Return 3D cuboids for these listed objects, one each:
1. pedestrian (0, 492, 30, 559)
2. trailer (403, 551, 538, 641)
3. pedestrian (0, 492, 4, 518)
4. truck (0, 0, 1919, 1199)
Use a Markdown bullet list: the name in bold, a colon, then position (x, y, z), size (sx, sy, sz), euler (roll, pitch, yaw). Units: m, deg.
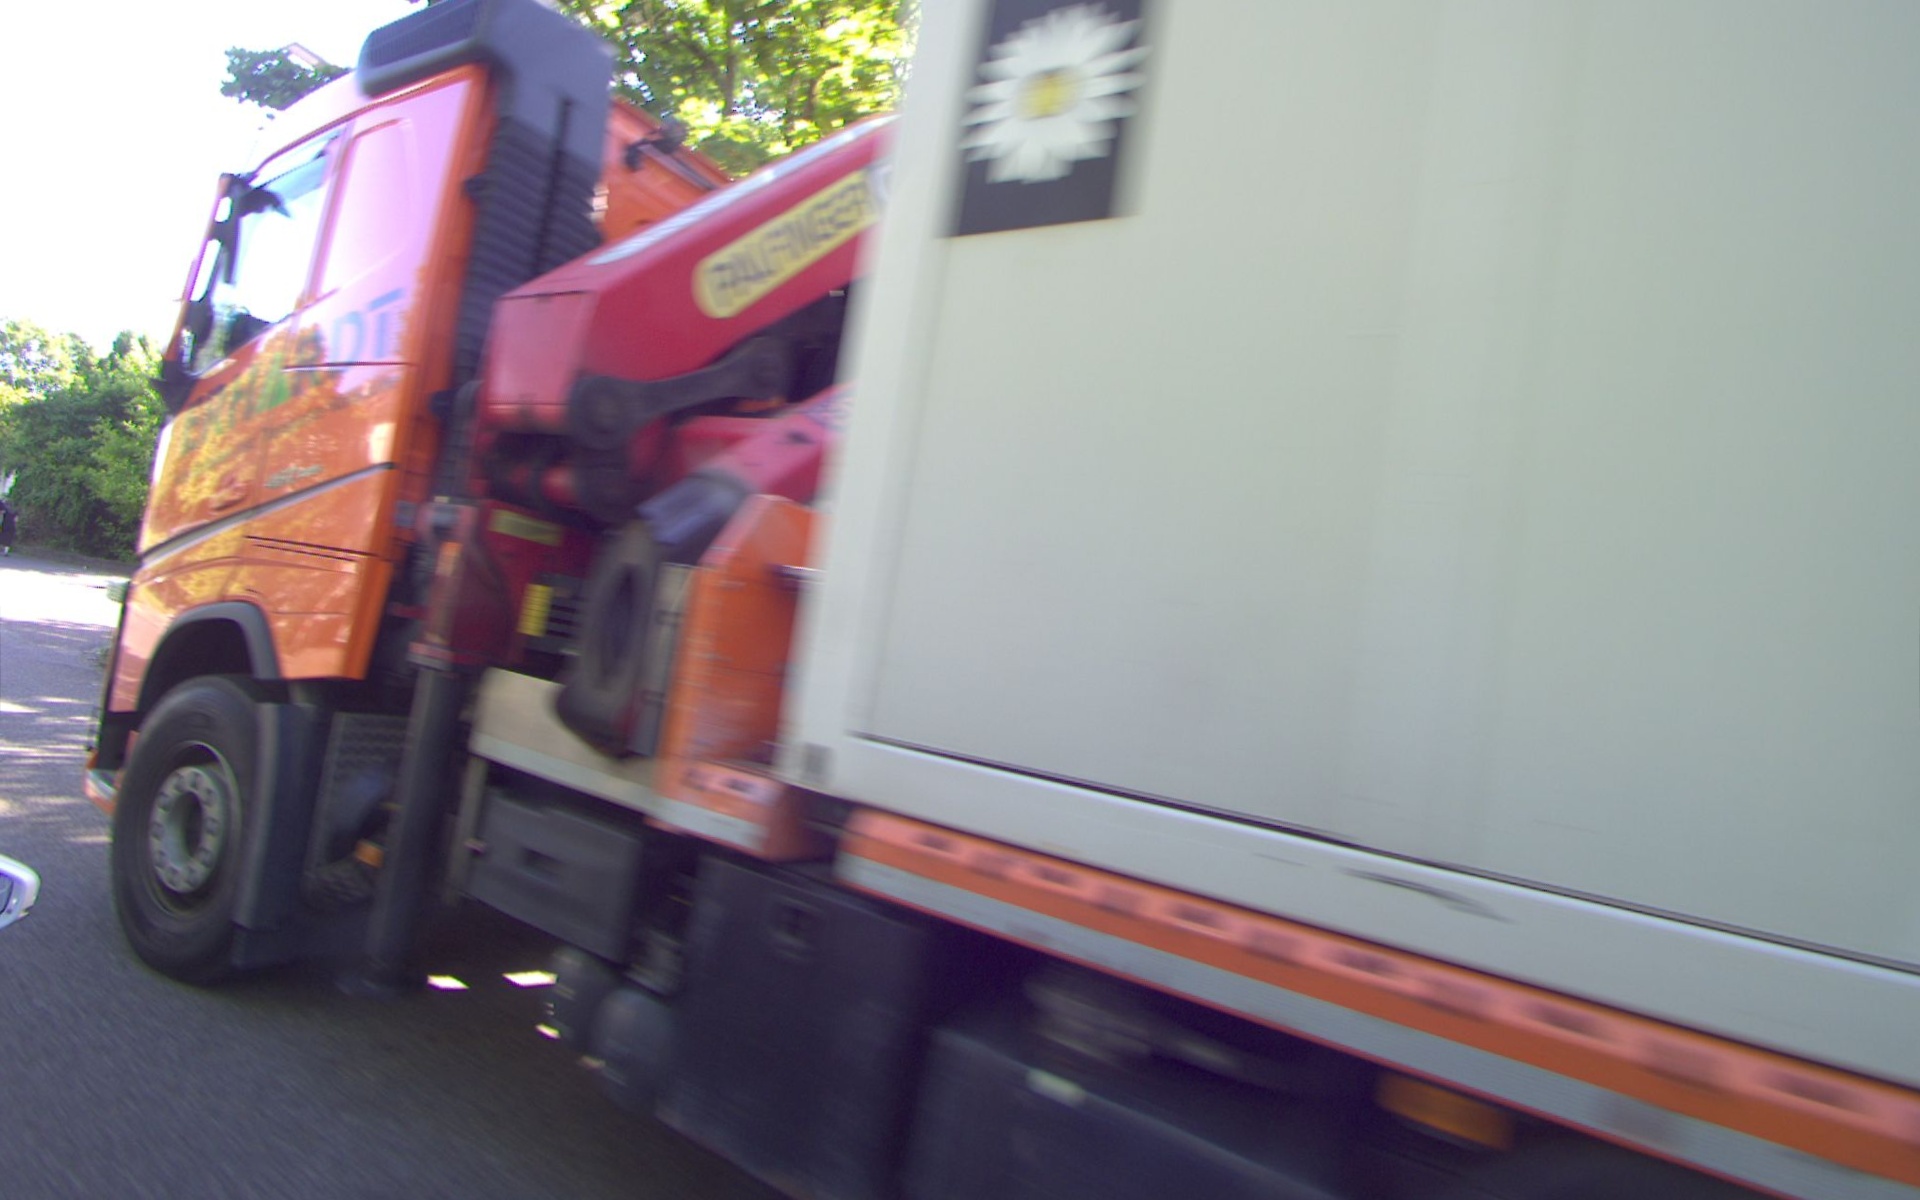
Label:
- **pedestrian**: position (-25.663, -2.017, 27.074), size (0.504, 1.701, 0.572), euler (8, -2, 23)
- **trailer**: position (-14.380, -0.069, 29.681), size (1.584, 2.139, 2.951), euler (7, -3, 31)
- **pedestrian**: position (-25.689, -2.043, 26.390), size (0.505, 1.701, 0.571), euler (8, -2, 29)
- **truck**: position (1.214, -0.193, 2.647), size (10.179, 4.036, 2.781), euler (7, -4, 33)
